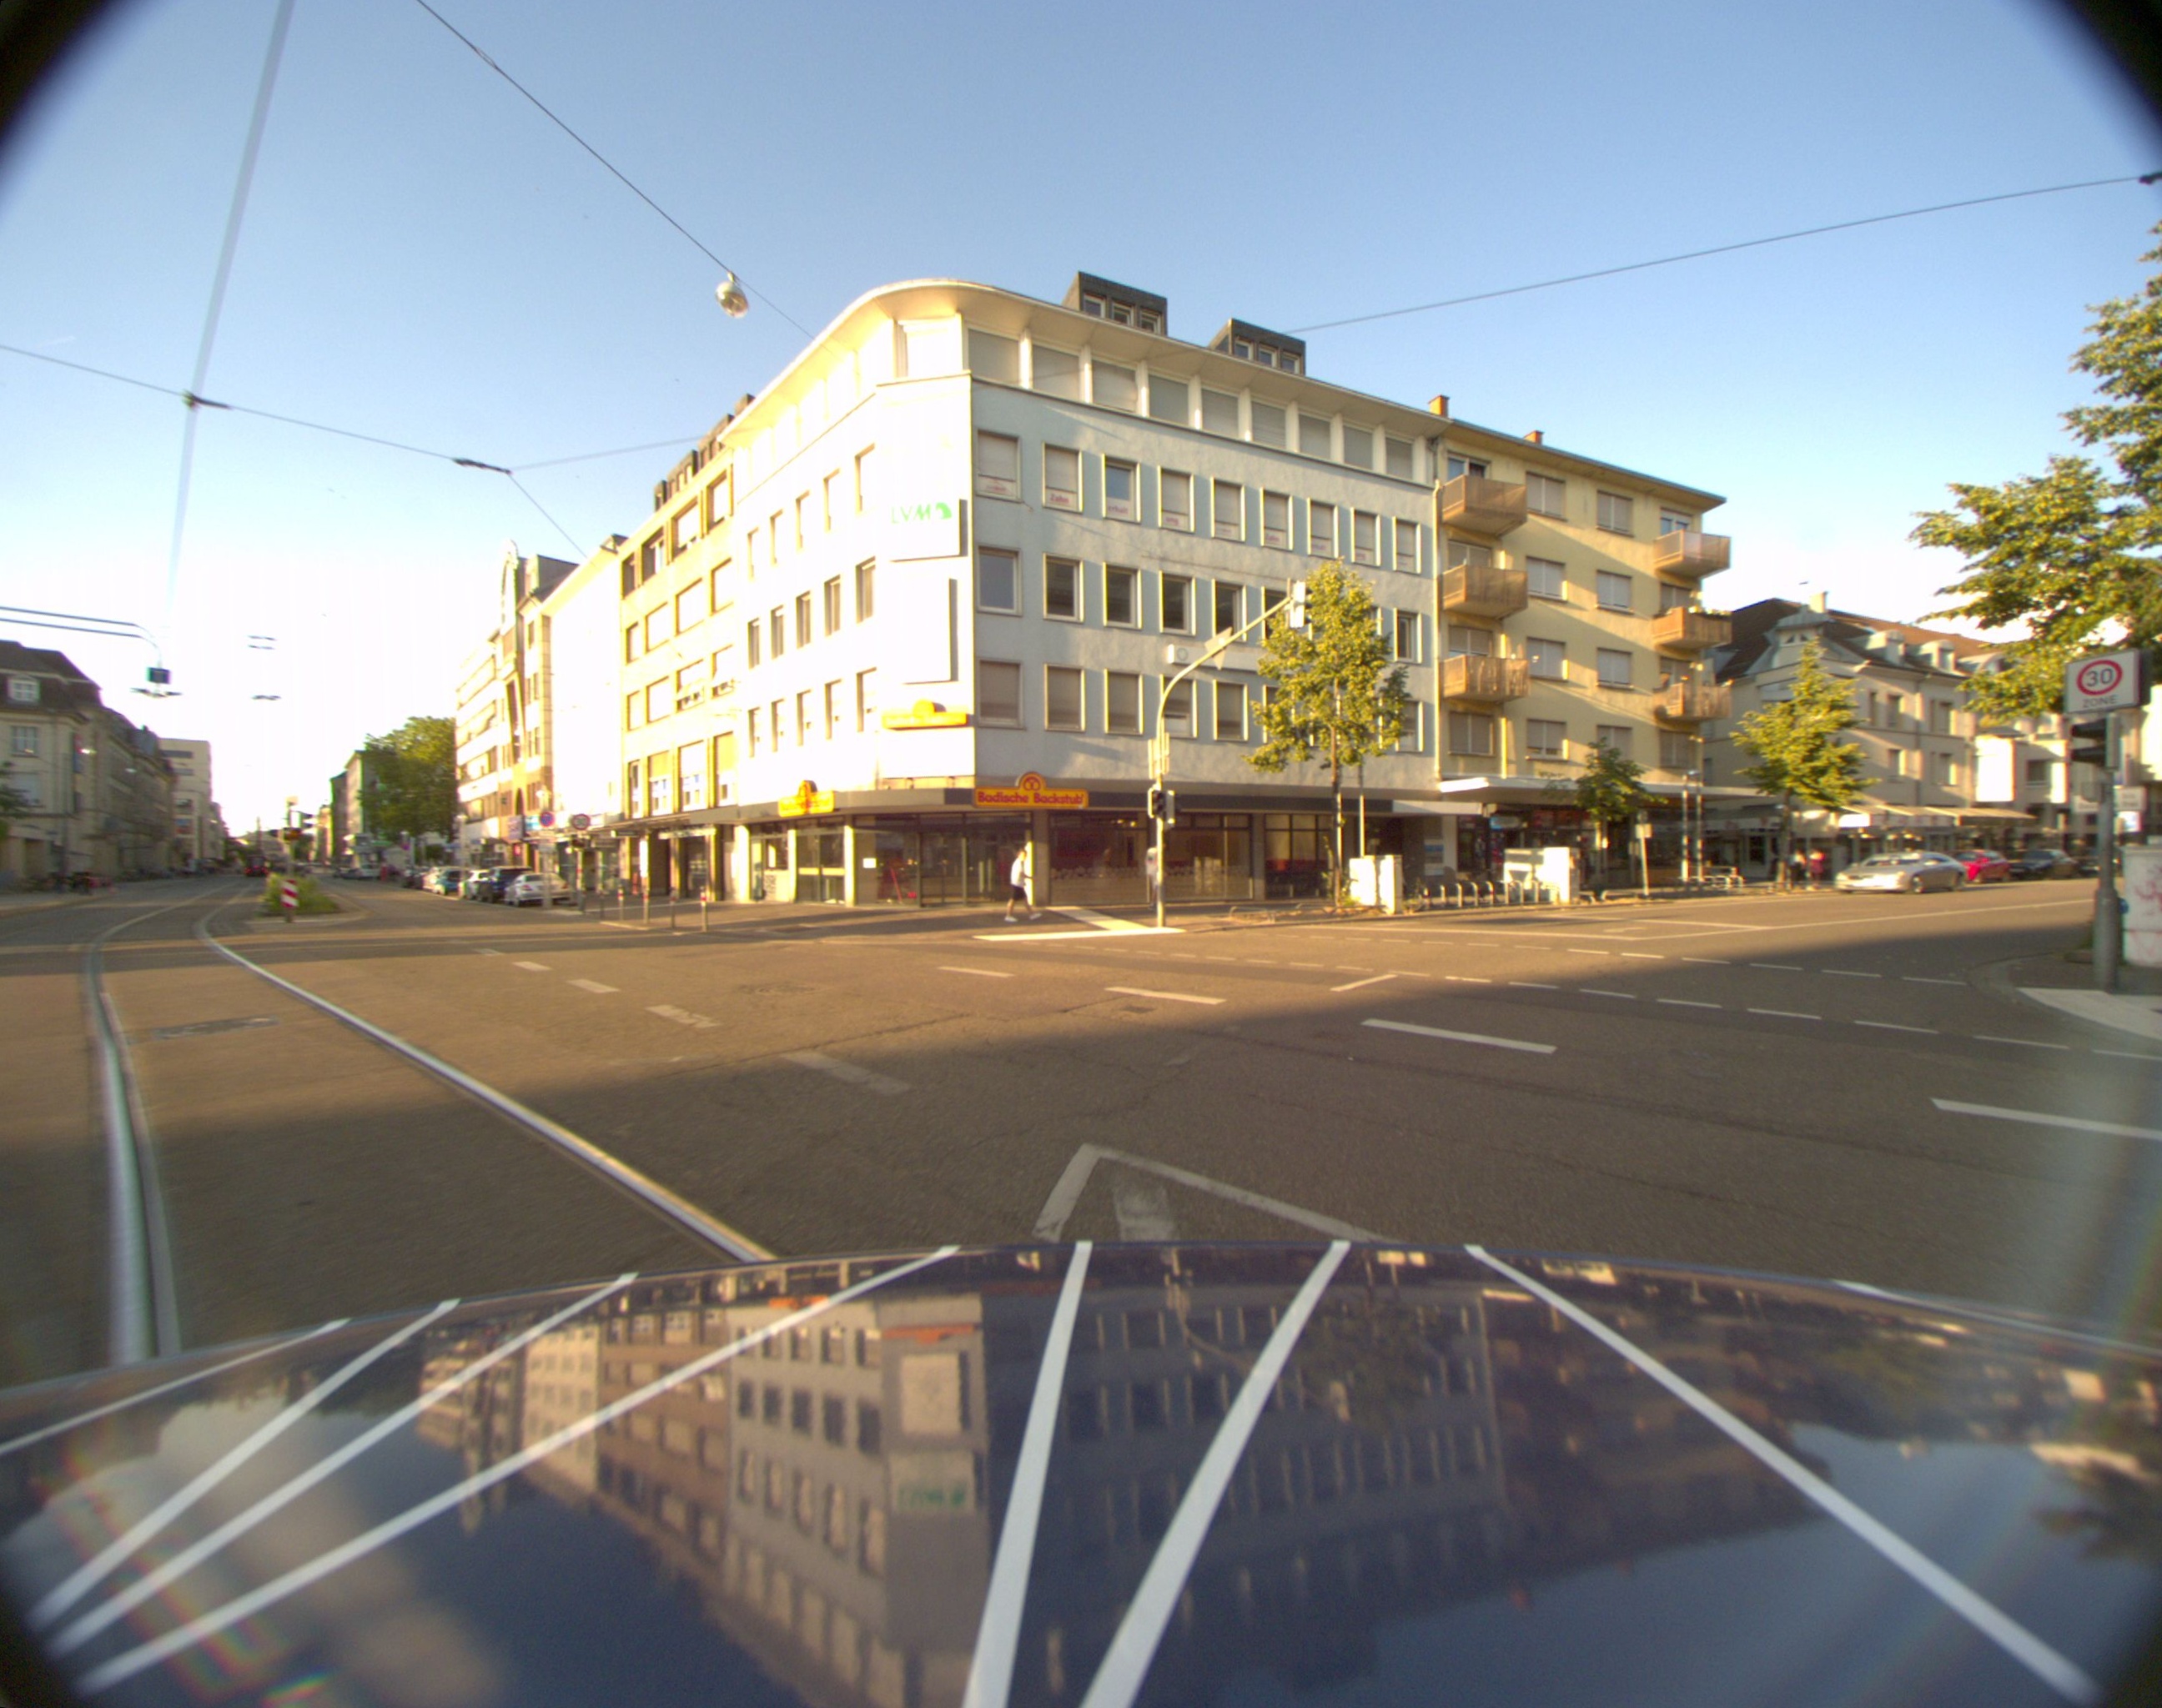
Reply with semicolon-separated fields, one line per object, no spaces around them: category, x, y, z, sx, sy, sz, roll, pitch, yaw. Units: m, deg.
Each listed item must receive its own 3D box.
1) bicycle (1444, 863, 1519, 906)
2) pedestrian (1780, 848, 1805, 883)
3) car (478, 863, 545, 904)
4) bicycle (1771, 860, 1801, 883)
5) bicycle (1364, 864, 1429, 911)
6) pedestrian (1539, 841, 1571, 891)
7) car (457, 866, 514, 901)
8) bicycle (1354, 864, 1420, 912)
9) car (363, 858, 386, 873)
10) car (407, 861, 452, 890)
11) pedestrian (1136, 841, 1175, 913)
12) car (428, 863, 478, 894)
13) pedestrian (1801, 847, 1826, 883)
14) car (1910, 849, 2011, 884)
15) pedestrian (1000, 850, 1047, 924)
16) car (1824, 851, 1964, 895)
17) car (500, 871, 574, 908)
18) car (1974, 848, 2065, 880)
bicycle;11.584;0.861;22.034;0.471;1.196;1.914;-1;0;-33
pedestrian;31.005;0.489;33.095;0.651;1.521;0.541;-1;0;-18
car;-25.410;1.265;33.850;1.853;1.626;3.988;-1;1;-44
bicycle;32.481;0.795;34.991;1.847;1.044;0.391;0;0;-26
bicycle;8.587;0.882;20.758;0.470;1.196;1.915;-1;0;-21
pedestrian;17.280;0.447;27.694;0.651;1.796;0.709;0;-2;-23
car;-30.238;1.463;38.556;1.853;1.626;3.988;-1;1;-44
bicycle;8.188;0.876;20.428;0.470;1.196;1.915;-1;0;-21
car;-82.346;1.296;88.490;1.853;1.626;3.988;-1;1;-44
car;-40.211;1.294;46.885;1.853;1.626;3.988;-1;1;-44
pedestrian;1.995;0.595;20.399;0.993;1.876;0.806;0;2;5
car;-35.975;1.344;43.514;1.853;1.626;3.988;-1;1;-44
pedestrian;31.196;0.470;32.364;0.555;1.521;0.541;0;0;-18
car;38.083;0.495;32.888;4.037;1.413;1.724;0;1;-24
pedestrian;-1.361;0.775;18.178;0.993;1.716;0.806;0;2;5
car;27.513;0.616;25.700;4.557;1.369;1.803;0;-2;-24
car;-22.102;1.403;30.821;1.853;1.287;3.988;-1;1;-44
car;43.578;0.426;35.289;3.753;1.413;1.724;0;1;-24
